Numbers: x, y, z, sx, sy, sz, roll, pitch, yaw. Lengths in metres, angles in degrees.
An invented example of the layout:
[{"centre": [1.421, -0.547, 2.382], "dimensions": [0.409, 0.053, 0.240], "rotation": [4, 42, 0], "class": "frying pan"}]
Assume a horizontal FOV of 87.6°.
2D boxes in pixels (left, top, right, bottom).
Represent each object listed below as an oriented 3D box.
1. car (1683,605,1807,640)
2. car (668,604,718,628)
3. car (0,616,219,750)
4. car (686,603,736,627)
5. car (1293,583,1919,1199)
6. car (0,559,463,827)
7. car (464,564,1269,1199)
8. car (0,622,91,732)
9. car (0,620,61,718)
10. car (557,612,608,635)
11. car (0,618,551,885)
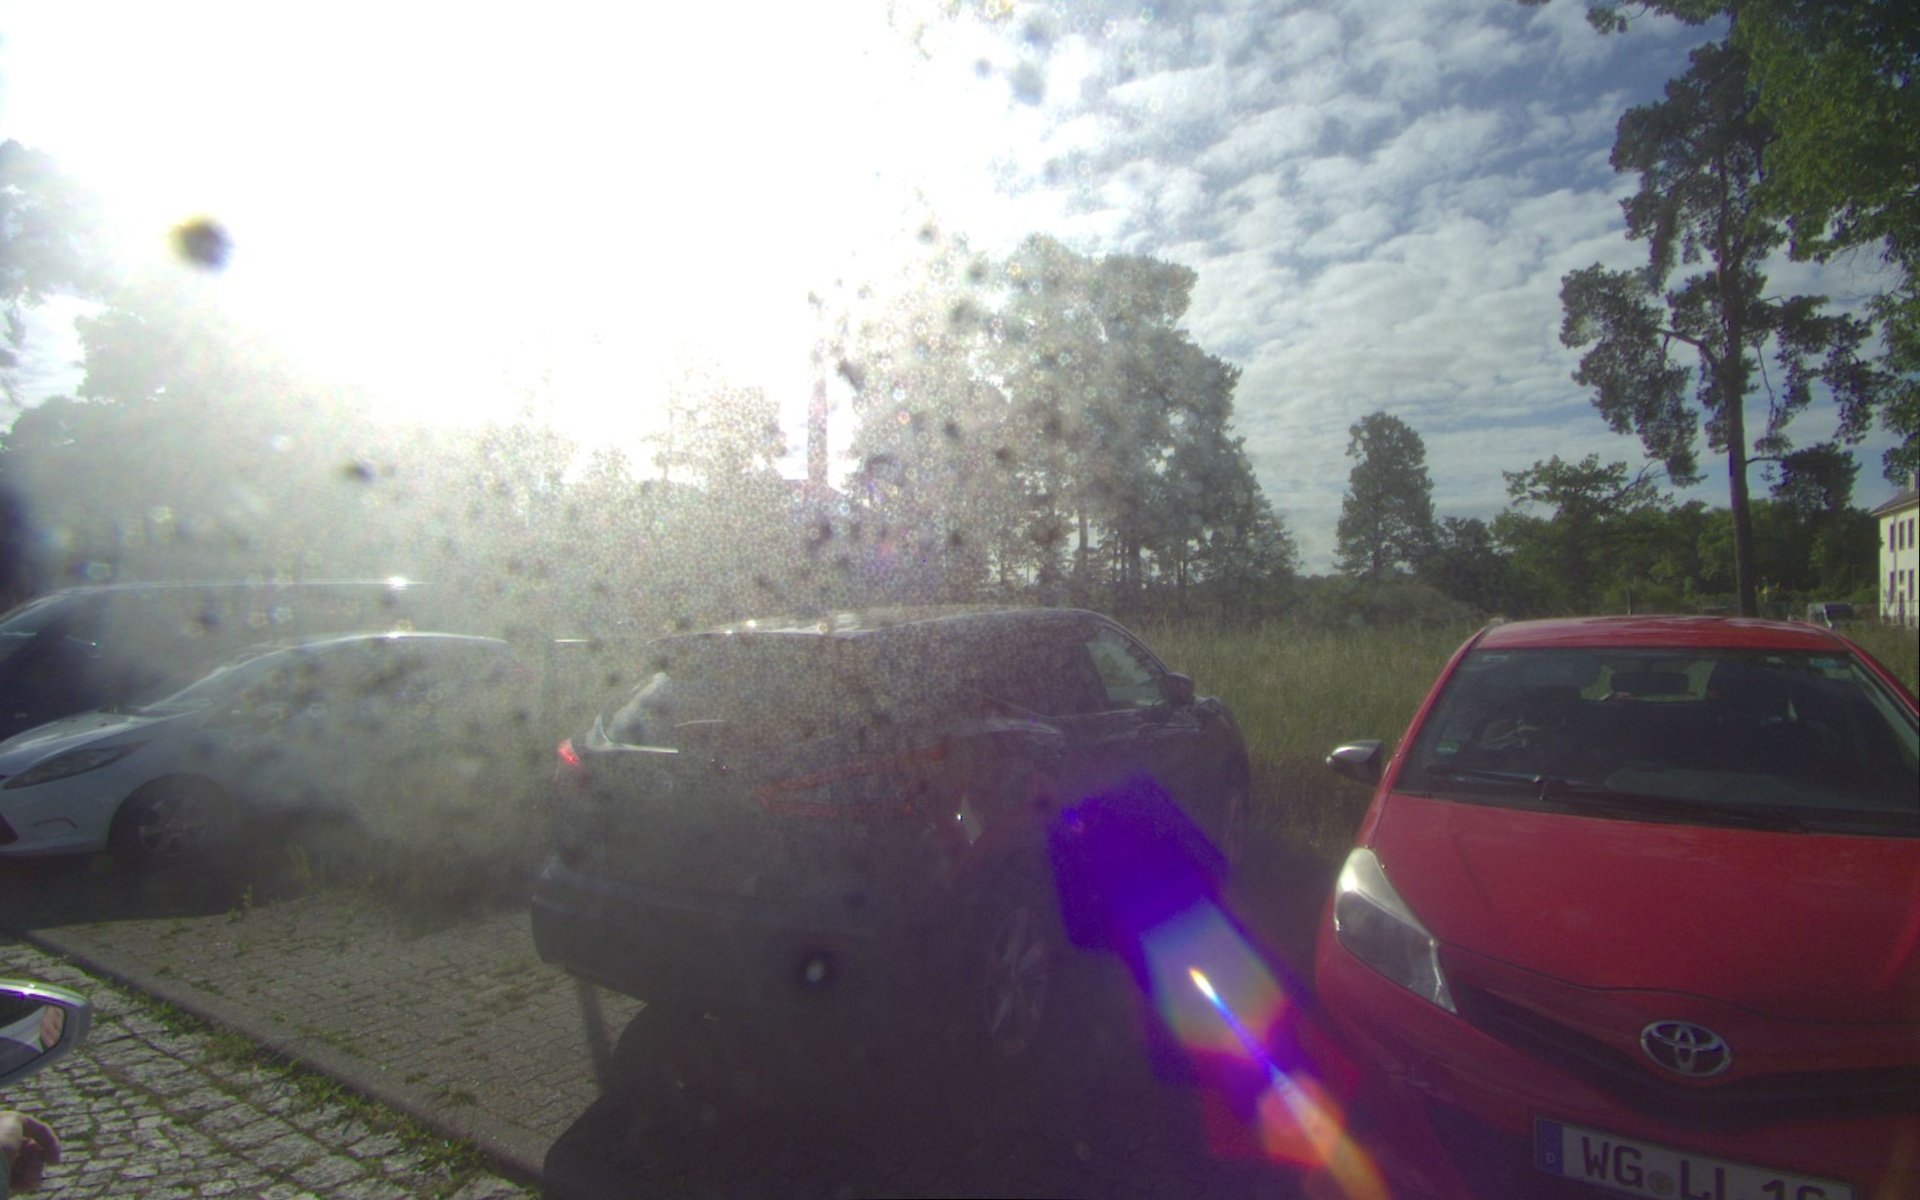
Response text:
[{"centre": [51.213, 1.506, 65.524], "dimensions": [2.337, 2.199, 5.999], "rotation": [0, -2, -22], "class": "car"}, {"centre": [-23.484, 1.414, 88.218], "dimensions": [1.971, 2.040, 3.979], "rotation": [0, -1, 32], "class": "car"}, {"centre": [-11.666, 1.008, 12.368], "dimensions": [1.622, 1.485, 3.685], "rotation": [-1, 1, 33], "class": "car"}, {"centre": [-21.642, 1.293, 87.258], "dimensions": [1.971, 2.040, 3.979], "rotation": [0, -1, 32], "class": "car"}, {"centre": [2.459, 0.769, 3.473], "dimensions": [1.622, 1.550, 3.755], "rotation": [0, -1, 32], "class": "car"}, {"centre": [-7.473, 0.734, 9.449], "dimensions": [2.052, 2.040, 4.672], "rotation": [0, -1, 29], "class": "car"}, {"centre": [0.053, 0.792, 4.691], "dimensions": [1.746, 1.642, 3.930], "rotation": [-3, -2, 31], "class": "car"}, {"centre": [-14.337, 1.089, 13.465], "dimensions": [1.621, 1.486, 3.669], "rotation": [-1, 0, 31], "class": "car"}, {"centre": [-16.459, 1.103, 15.496], "dimensions": [1.621, 1.549, 3.473], "rotation": [0, -1, 31], "class": "car"}, {"centre": [-33.839, 2.070, 89.851], "dimensions": [1.971, 2.040, 3.979], "rotation": [0, -1, 32], "class": "car"}, {"centre": [-5.337, 0.923, 7.884], "dimensions": [1.621, 1.508, 3.714], "rotation": [0, 0, 30], "class": "car"}]
